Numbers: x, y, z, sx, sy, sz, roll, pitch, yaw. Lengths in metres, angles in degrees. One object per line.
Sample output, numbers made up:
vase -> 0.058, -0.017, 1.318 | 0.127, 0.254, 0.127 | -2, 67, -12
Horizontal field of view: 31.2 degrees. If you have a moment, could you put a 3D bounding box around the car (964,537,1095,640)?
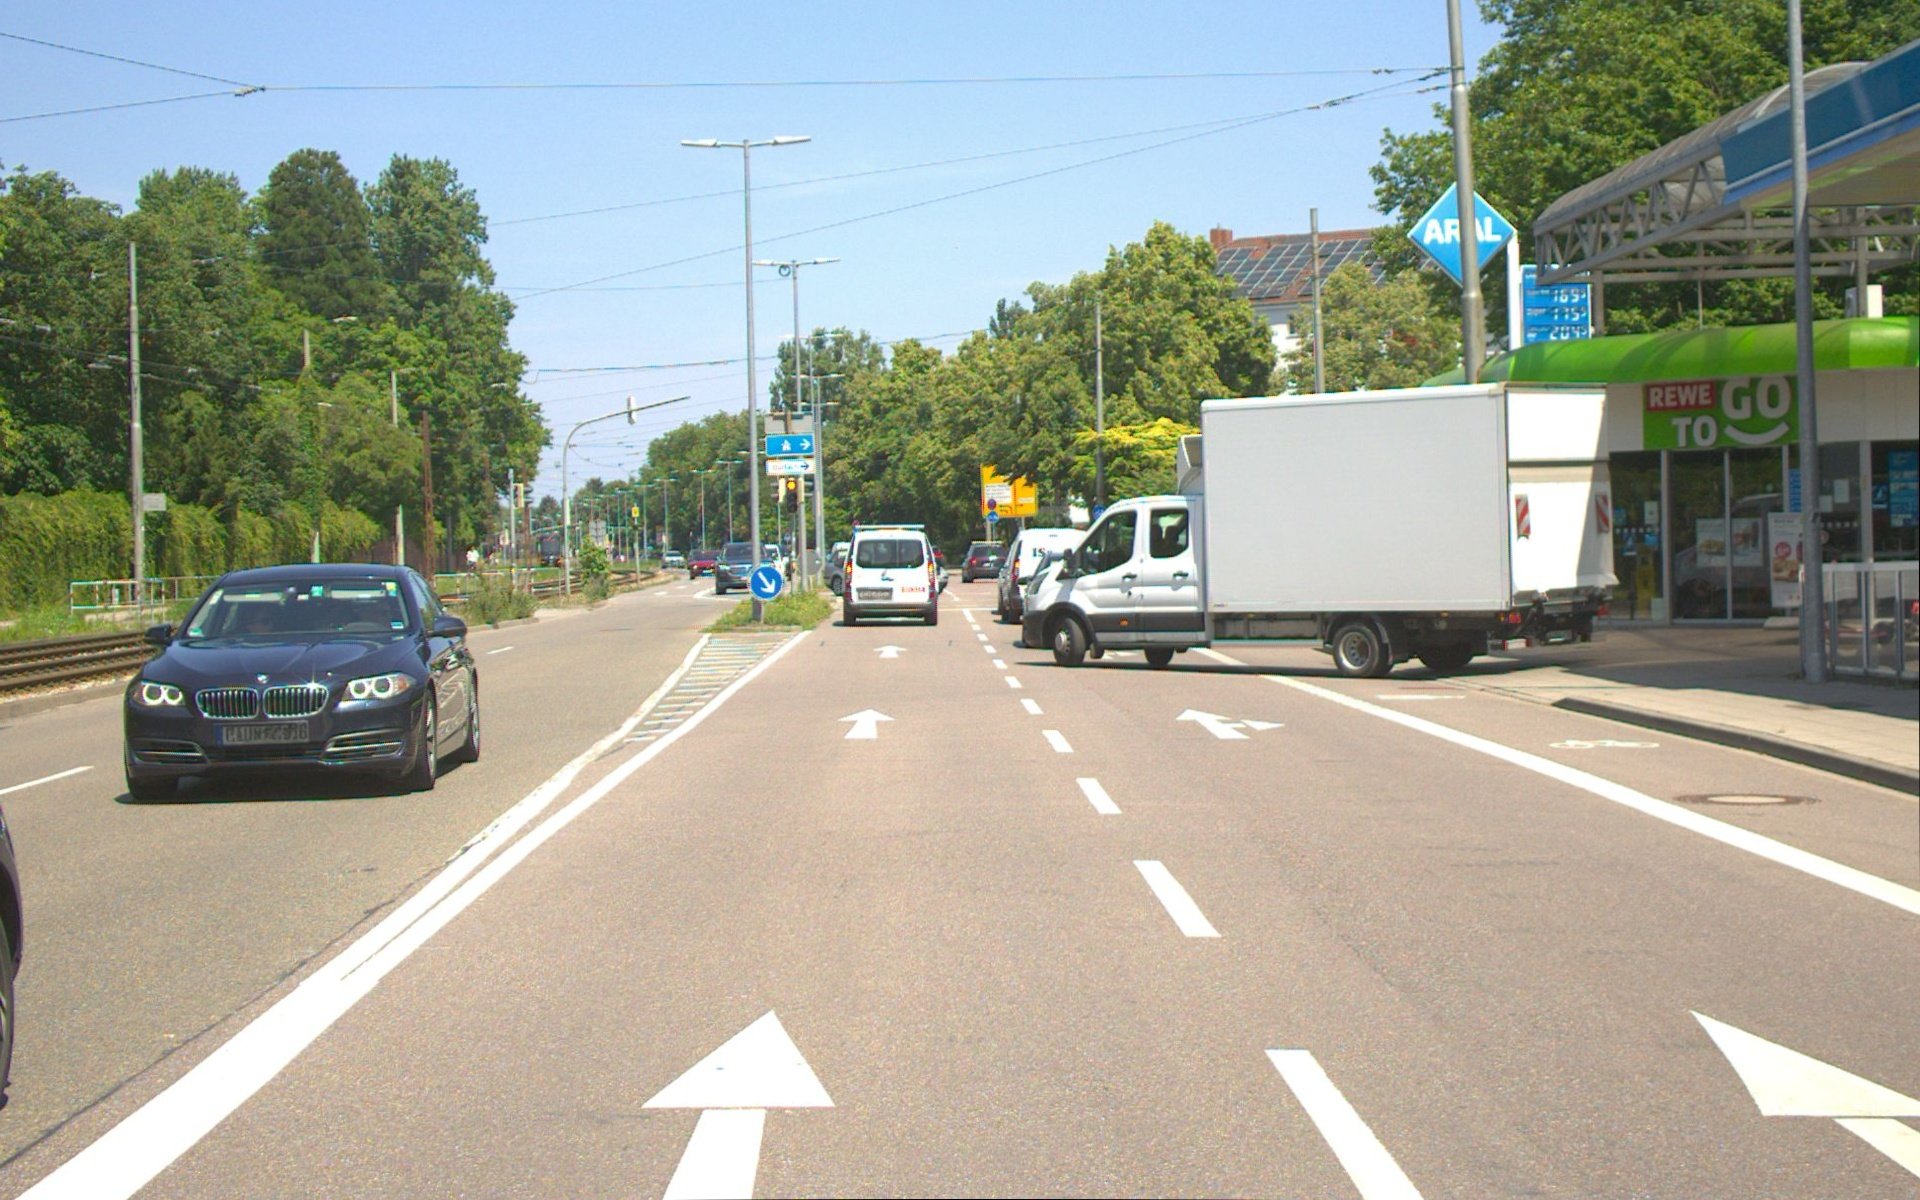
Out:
car -> 0.992, -0.195, 50.665 | 1.770, 1.415, 4.000 | -1, 1, -1

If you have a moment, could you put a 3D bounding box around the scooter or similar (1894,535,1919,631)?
scooter or similar -> 12.166, -0.219, 42.466 | 1.135, 1.172, 0.384 | -1, 1, 0

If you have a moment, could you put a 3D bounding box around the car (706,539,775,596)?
car -> -7.321, -1.097, 114.400 | 1.993, 1.823, 4.541 | -1, 1, -7

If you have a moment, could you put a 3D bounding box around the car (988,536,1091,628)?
car -> 1.283, -0.323, 56.595 | 1.607, 1.446, 3.521 | -1, 1, 0

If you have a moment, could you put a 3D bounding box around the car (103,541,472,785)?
car -> -4.292, 0.333, 22.563 | 1.793, 1.394, 4.449 | -1, 1, -4

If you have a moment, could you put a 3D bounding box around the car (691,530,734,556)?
car -> -13.376, -3.082, 185.990 | 1.984, 1.354, 4.538 | -1, 1, 0

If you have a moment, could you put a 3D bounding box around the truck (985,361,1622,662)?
truck -> 4.059, -1.021, 42.234 | 7.827, 3.380, 2.422 | 0, 1, 42

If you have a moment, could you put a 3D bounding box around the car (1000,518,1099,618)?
car -> 1.673, -0.636, 65.658 | 1.710, 1.824, 4.014 | -1, 1, 0

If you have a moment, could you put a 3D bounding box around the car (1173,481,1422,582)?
car -> 8.908, -1.795, 90.479 | 6.204, 2.508, 2.703 | -1, 1, 12

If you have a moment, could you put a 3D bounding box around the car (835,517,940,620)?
car -> -1.373, -0.610, 64.645 | 1.866, 1.829, 3.849 | -1, 1, -2

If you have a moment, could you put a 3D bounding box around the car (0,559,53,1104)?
car -> -3.357, 0.654, 7.442 | 1.713, 1.417, 4.142 | -1, 1, -1

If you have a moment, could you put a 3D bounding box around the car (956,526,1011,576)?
car -> 0.900, -1.896, 132.665 | 1.993, 1.853, 4.000 | -1, 1, -1
